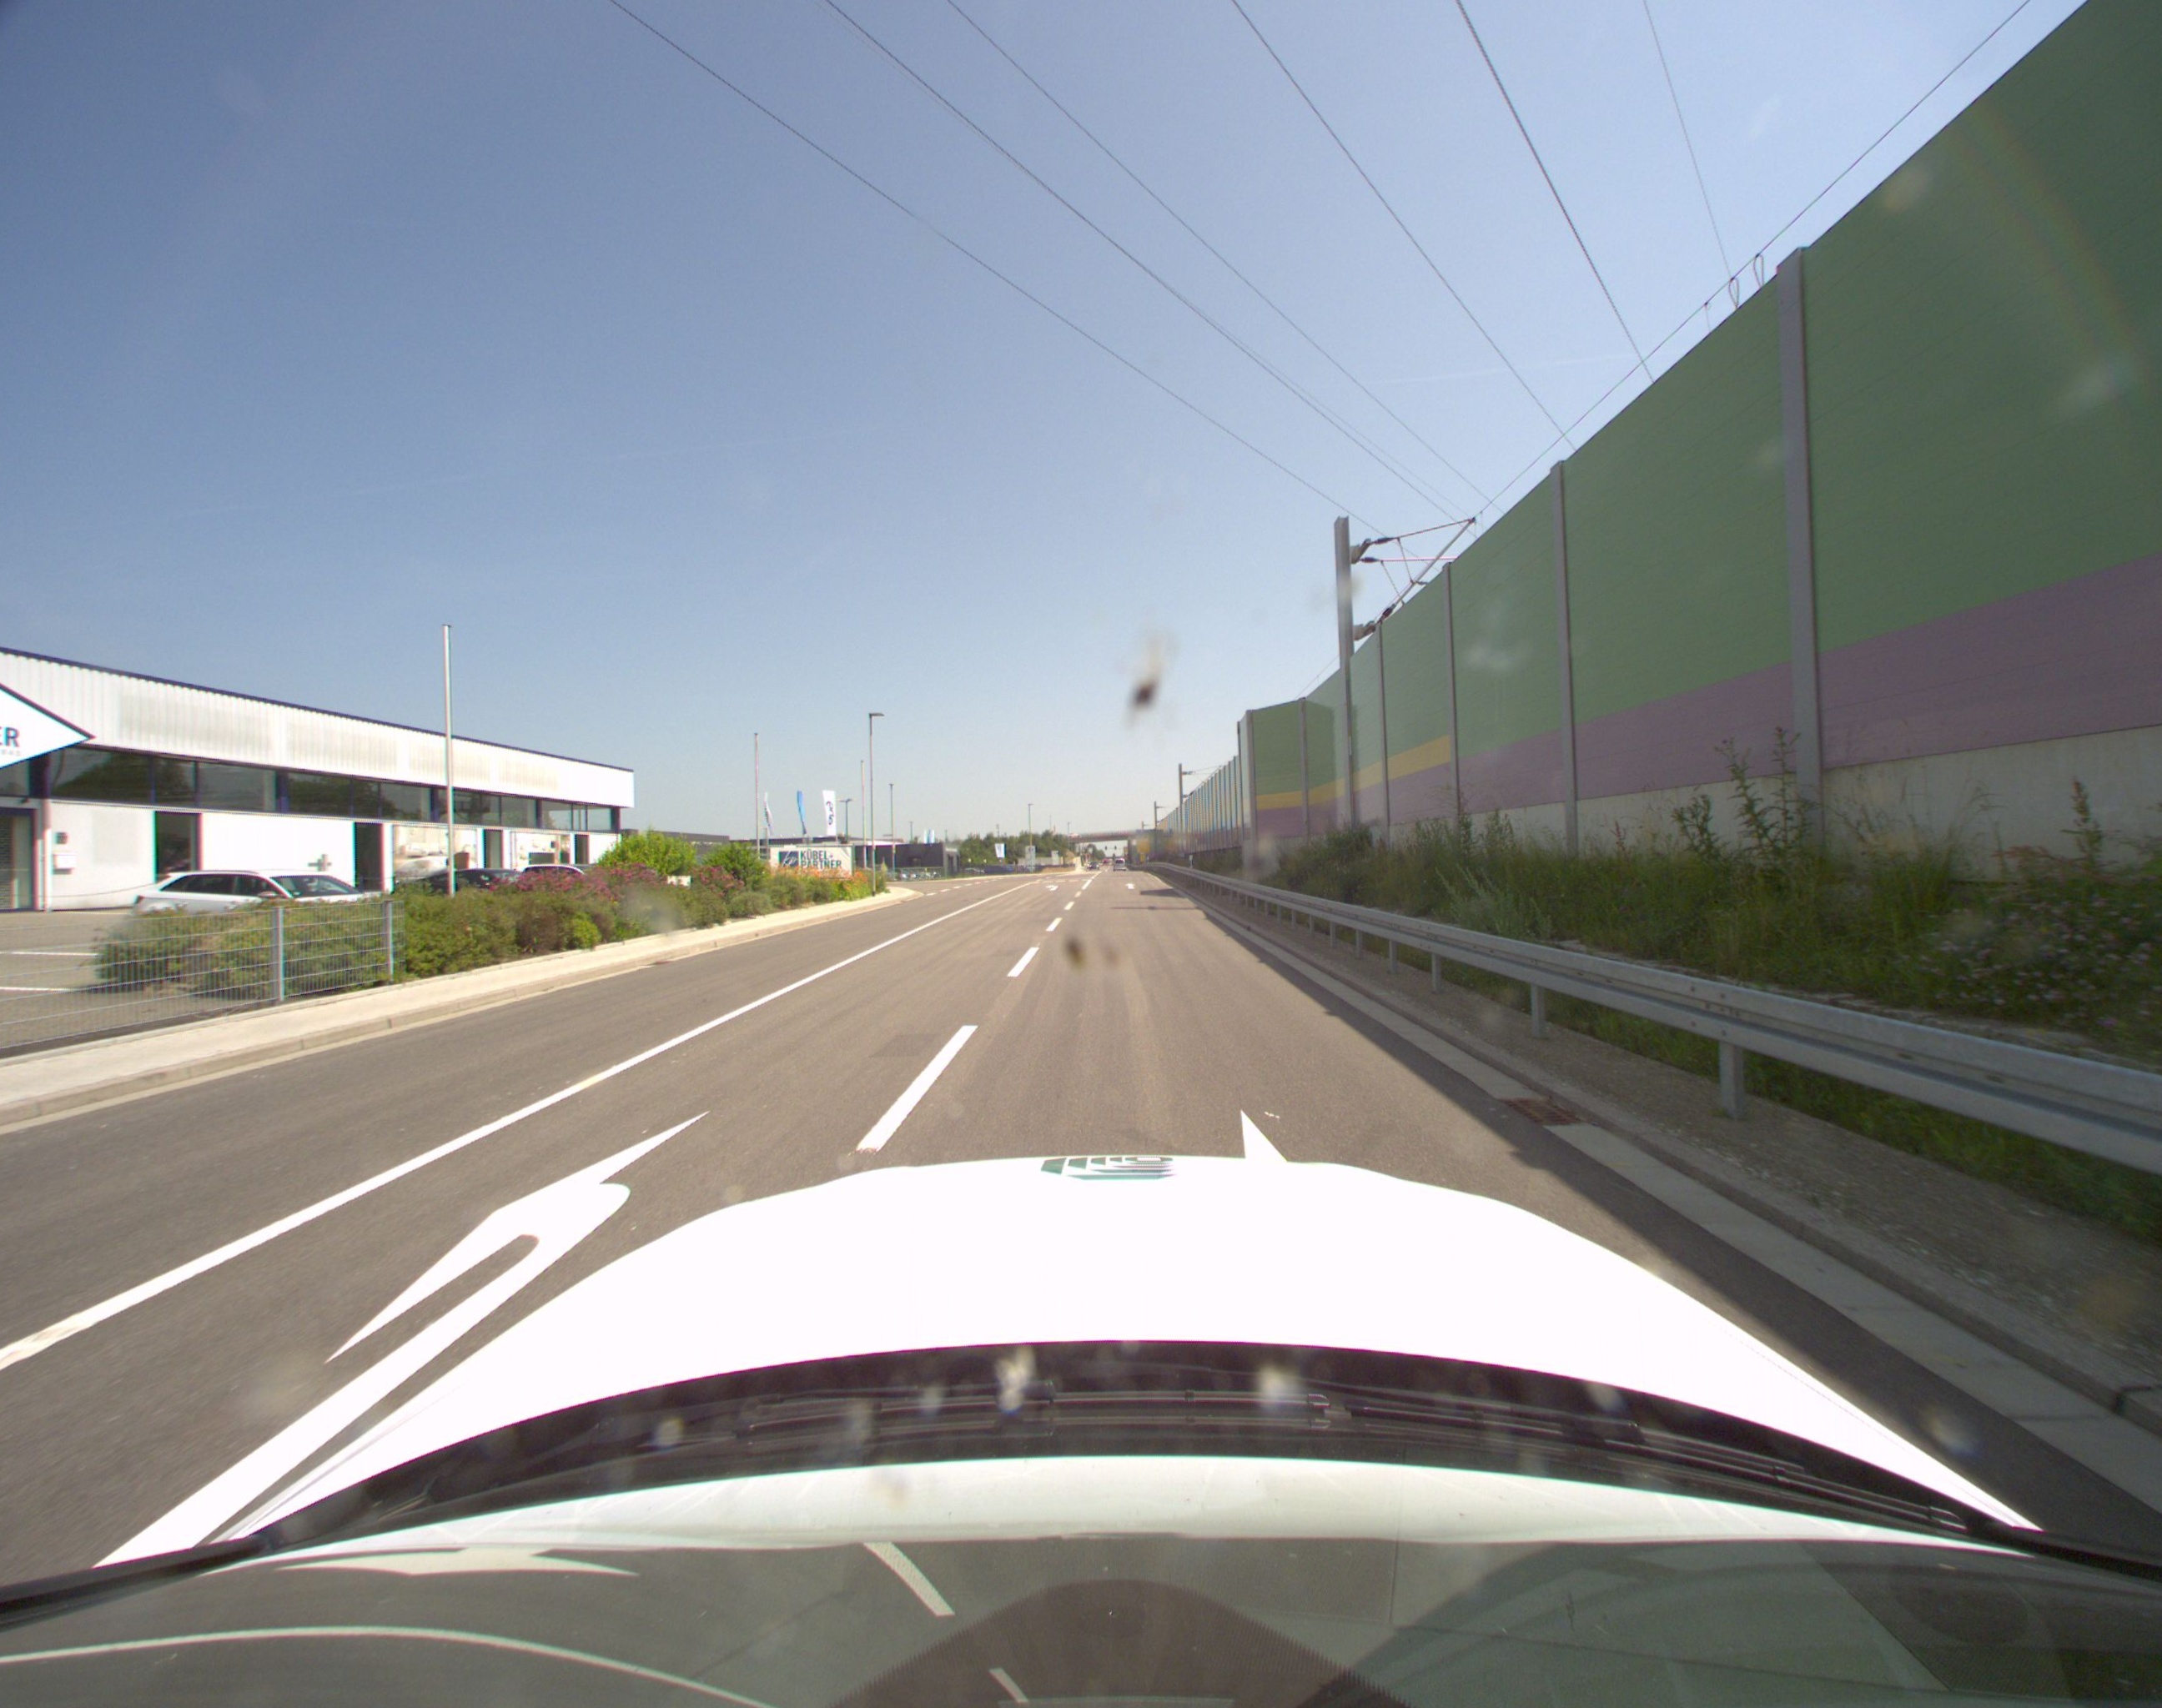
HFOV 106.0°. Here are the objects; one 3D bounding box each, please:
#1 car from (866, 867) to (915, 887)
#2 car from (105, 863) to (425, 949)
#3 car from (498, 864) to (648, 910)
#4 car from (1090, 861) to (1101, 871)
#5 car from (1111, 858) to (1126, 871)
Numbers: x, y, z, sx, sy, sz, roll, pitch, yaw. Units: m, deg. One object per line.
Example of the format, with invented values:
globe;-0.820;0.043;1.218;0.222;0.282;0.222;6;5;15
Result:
car;-17.598;2.087;75.388;3.973;1.632;1.886;-3;0;0
car;-15.217;0.940;15.367;4.209;1.456;1.764;1;0;0
car;-15.127;0.964;24.356;3.497;1.254;1.505;1;0;0
car;2.662;2.271;152.312;1.870;1.673;4.293;-2;0;3
car;5.389;1.481;115.323;1.985;1.757;4.004;-2;0;4
